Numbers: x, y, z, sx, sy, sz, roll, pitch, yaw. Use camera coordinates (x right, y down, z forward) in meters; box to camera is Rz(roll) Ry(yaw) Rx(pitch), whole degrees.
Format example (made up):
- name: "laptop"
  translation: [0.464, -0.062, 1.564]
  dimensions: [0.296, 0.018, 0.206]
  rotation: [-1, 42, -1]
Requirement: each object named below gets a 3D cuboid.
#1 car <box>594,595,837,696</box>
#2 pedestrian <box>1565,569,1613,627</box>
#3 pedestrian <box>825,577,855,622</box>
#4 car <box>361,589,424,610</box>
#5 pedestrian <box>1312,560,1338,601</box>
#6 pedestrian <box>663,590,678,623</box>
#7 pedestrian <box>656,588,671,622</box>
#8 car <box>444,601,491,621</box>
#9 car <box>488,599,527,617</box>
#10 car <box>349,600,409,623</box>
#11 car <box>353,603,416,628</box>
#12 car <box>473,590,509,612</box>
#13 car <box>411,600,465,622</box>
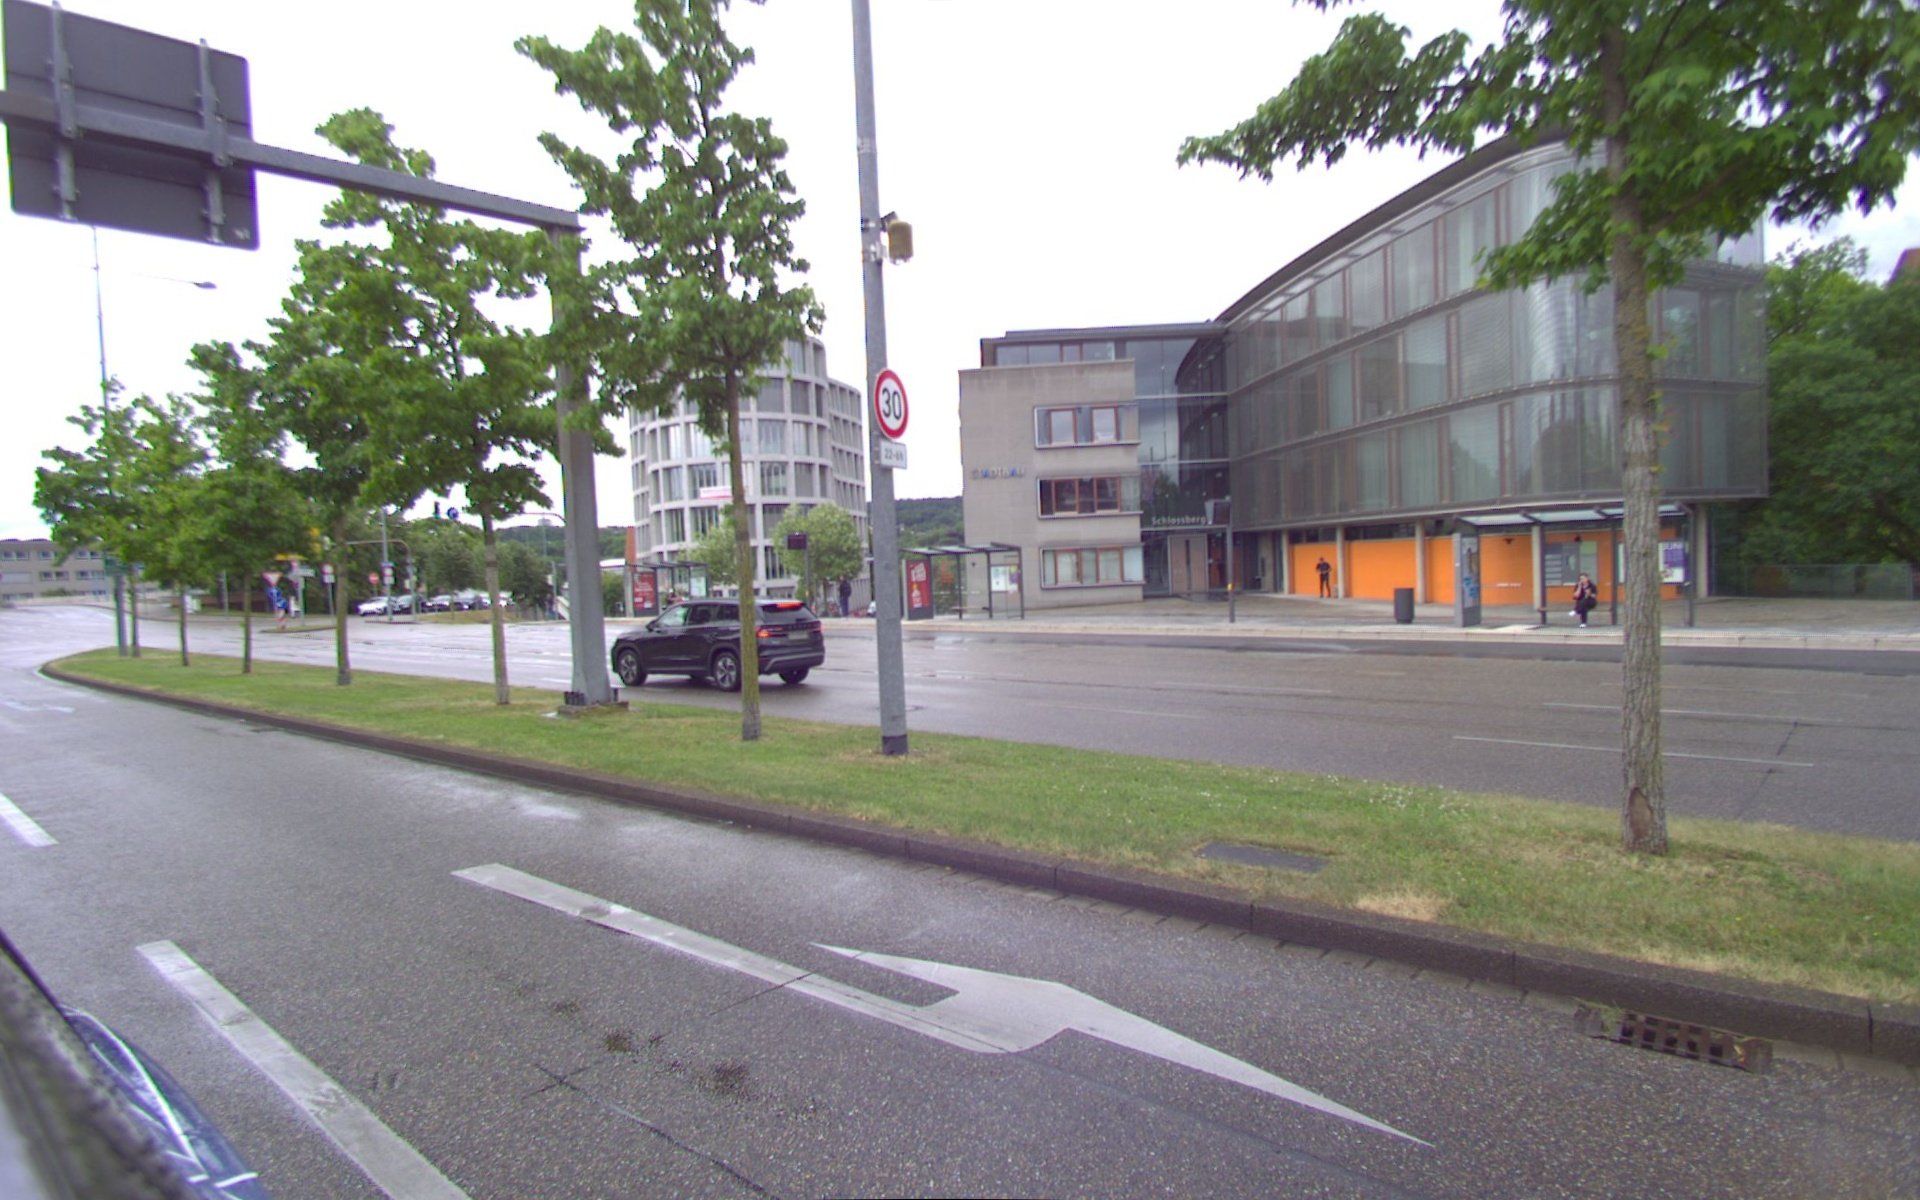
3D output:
- name: "car"
  translation: [-4.628, 0.793, 18.869]
  dimensions: [4.589, 1.652, 1.806]
  rotation: [-1, 0, 35]
- name: "pedestrian"
  translation: [14.600, -0.046, 23.486]
  dimensions: [0.790, 1.334, 0.793]
  rotation: [-1, 0, 42]
- name: "pedestrian"
  translation: [-4.899, -0.022, 41.406]
  dimensions: [0.964, 1.773, 0.783]
  rotation: [-1, 0, 12]
- name: "car"
  translation: [-56.429, -0.055, 100.761]
  dimensions: [4.963, 2.029, 2.311]
  rotation: [-1, 0, 0]
- name: "pedestrian"
  translation: [15.131, -0.813, 41.978]
  dimensions: [0.697, 1.666, 0.852]
  rotation: [-1, 0, -6]
- name: "pedestrian"
  translation: [-14.565, 0.307, 50.908]
  dimensions: [0.535, 1.647, 0.514]
  rotation: [-1, 0, 41]
- name: "pedestrian"
  translation: [-14.737, 0.248, 50.340]
  dimensions: [0.501, 1.647, 0.497]
  rotation: [-1, 0, 41]
- name: "car"
  translation: [-45.278, 1.017, 93.197]
  dimensions: [2.164, 1.725, 4.920]
  rotation: [-1, 0, -3]
- name: "car"
  translation: [-47.523, 0.832, 106.293]
  dimensions: [2.164, 1.725, 4.921]
  rotation: [-2, 0, -44]
- name: "car"
  translation: [-46.584, 0.870, 81.273]
  dimensions: [2.164, 1.725, 4.919]
  rotation: [-1, 0, -2]
- name: "car"
  translation: [-43.697, 1.154, 77.030]
  dimensions: [2.164, 1.725, 4.919]
  rotation: [-1, 0, -3]
- name: "car"
  translation: [-46.310, 0.129, 99.999]
  dimensions: [1.969, 2.029, 4.005]
  rotation: [-1, -1, -6]
- name: "car"
  translation: [-44.314, 0.903, 86.061]
  dimensions: [2.164, 1.725, 4.919]
  rotation: [-1, 0, -3]
